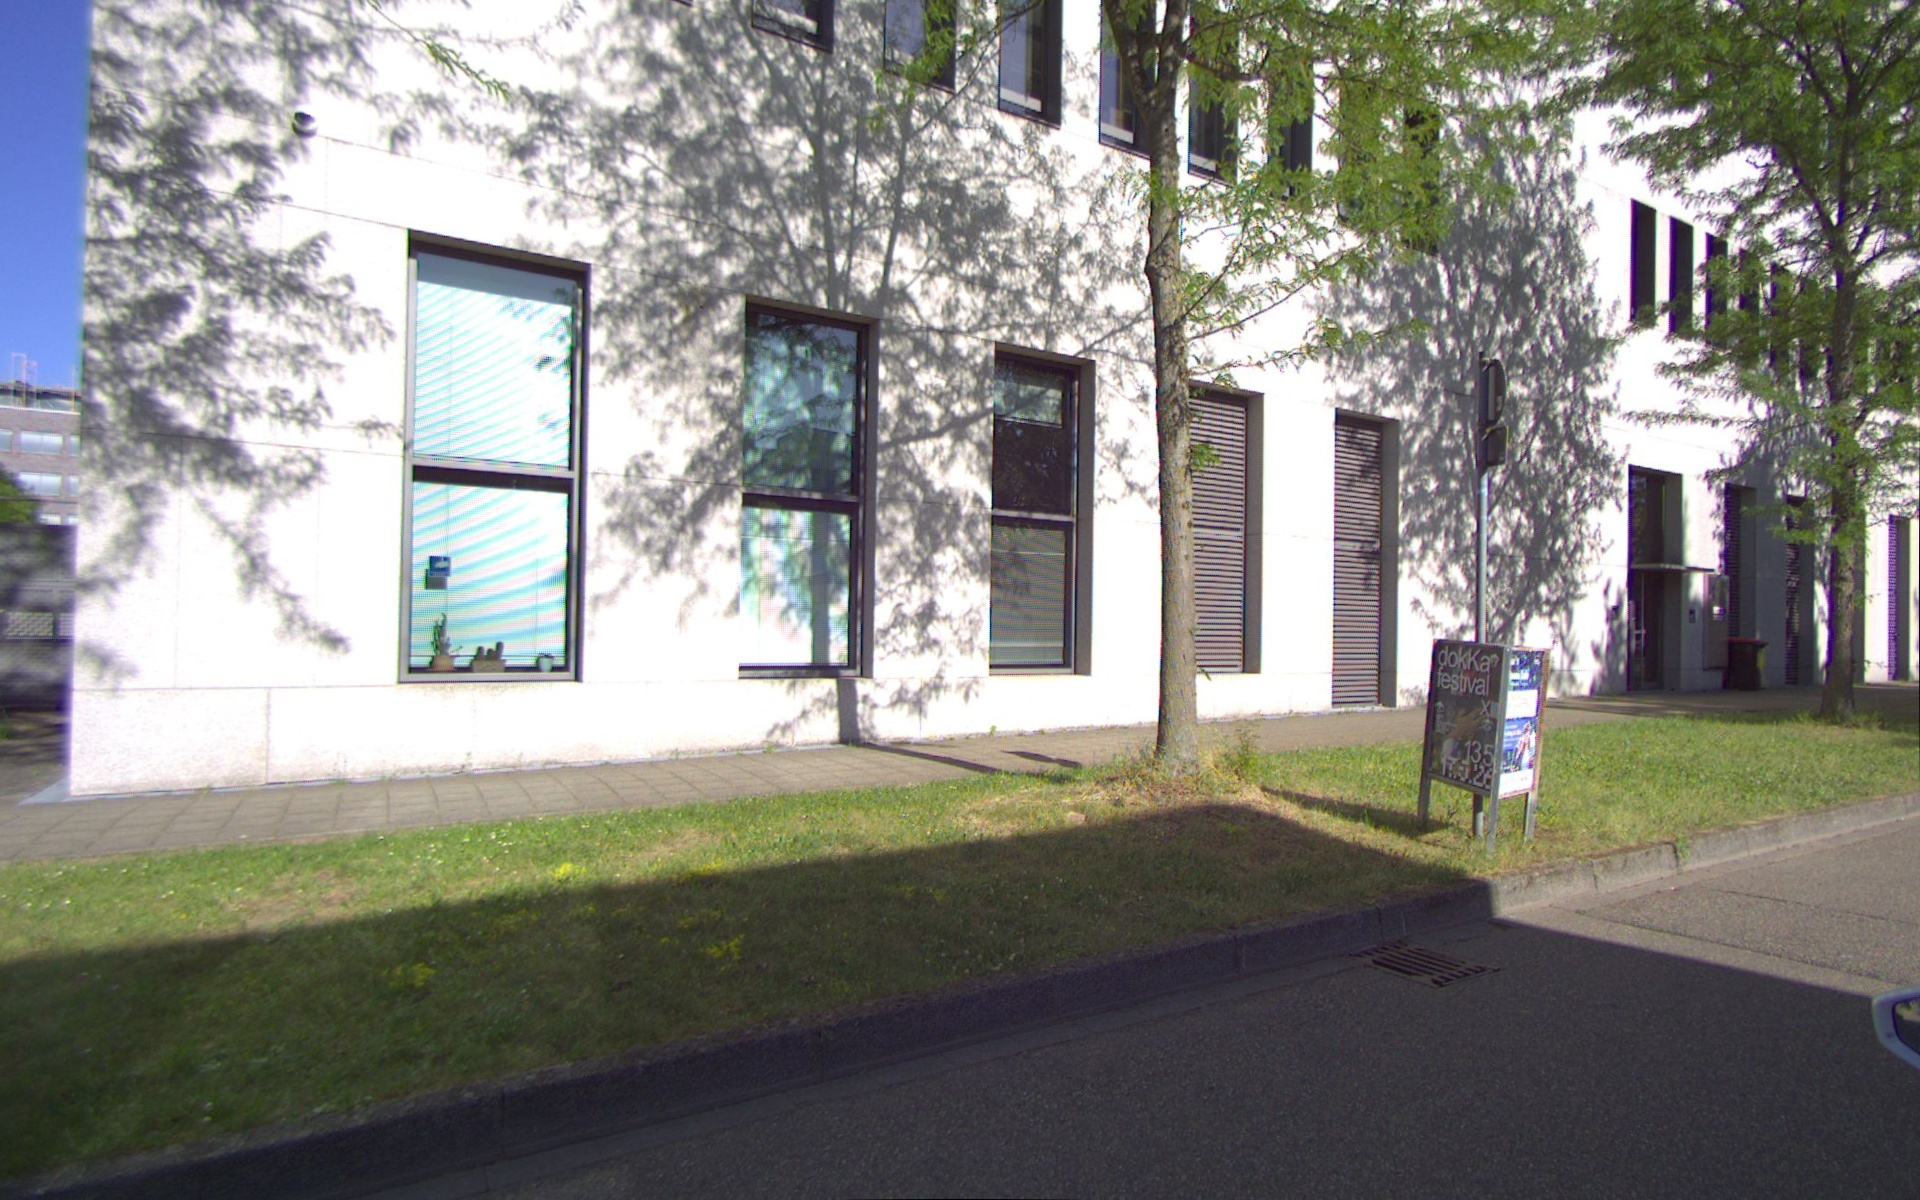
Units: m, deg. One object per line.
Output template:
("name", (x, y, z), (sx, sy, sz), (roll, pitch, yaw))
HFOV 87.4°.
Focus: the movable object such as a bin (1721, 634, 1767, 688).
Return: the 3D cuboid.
("movable object such as a bin", (16.106, 1.247, 20.632), (0.537, 1.054, 0.590), (1, 0, -32))
